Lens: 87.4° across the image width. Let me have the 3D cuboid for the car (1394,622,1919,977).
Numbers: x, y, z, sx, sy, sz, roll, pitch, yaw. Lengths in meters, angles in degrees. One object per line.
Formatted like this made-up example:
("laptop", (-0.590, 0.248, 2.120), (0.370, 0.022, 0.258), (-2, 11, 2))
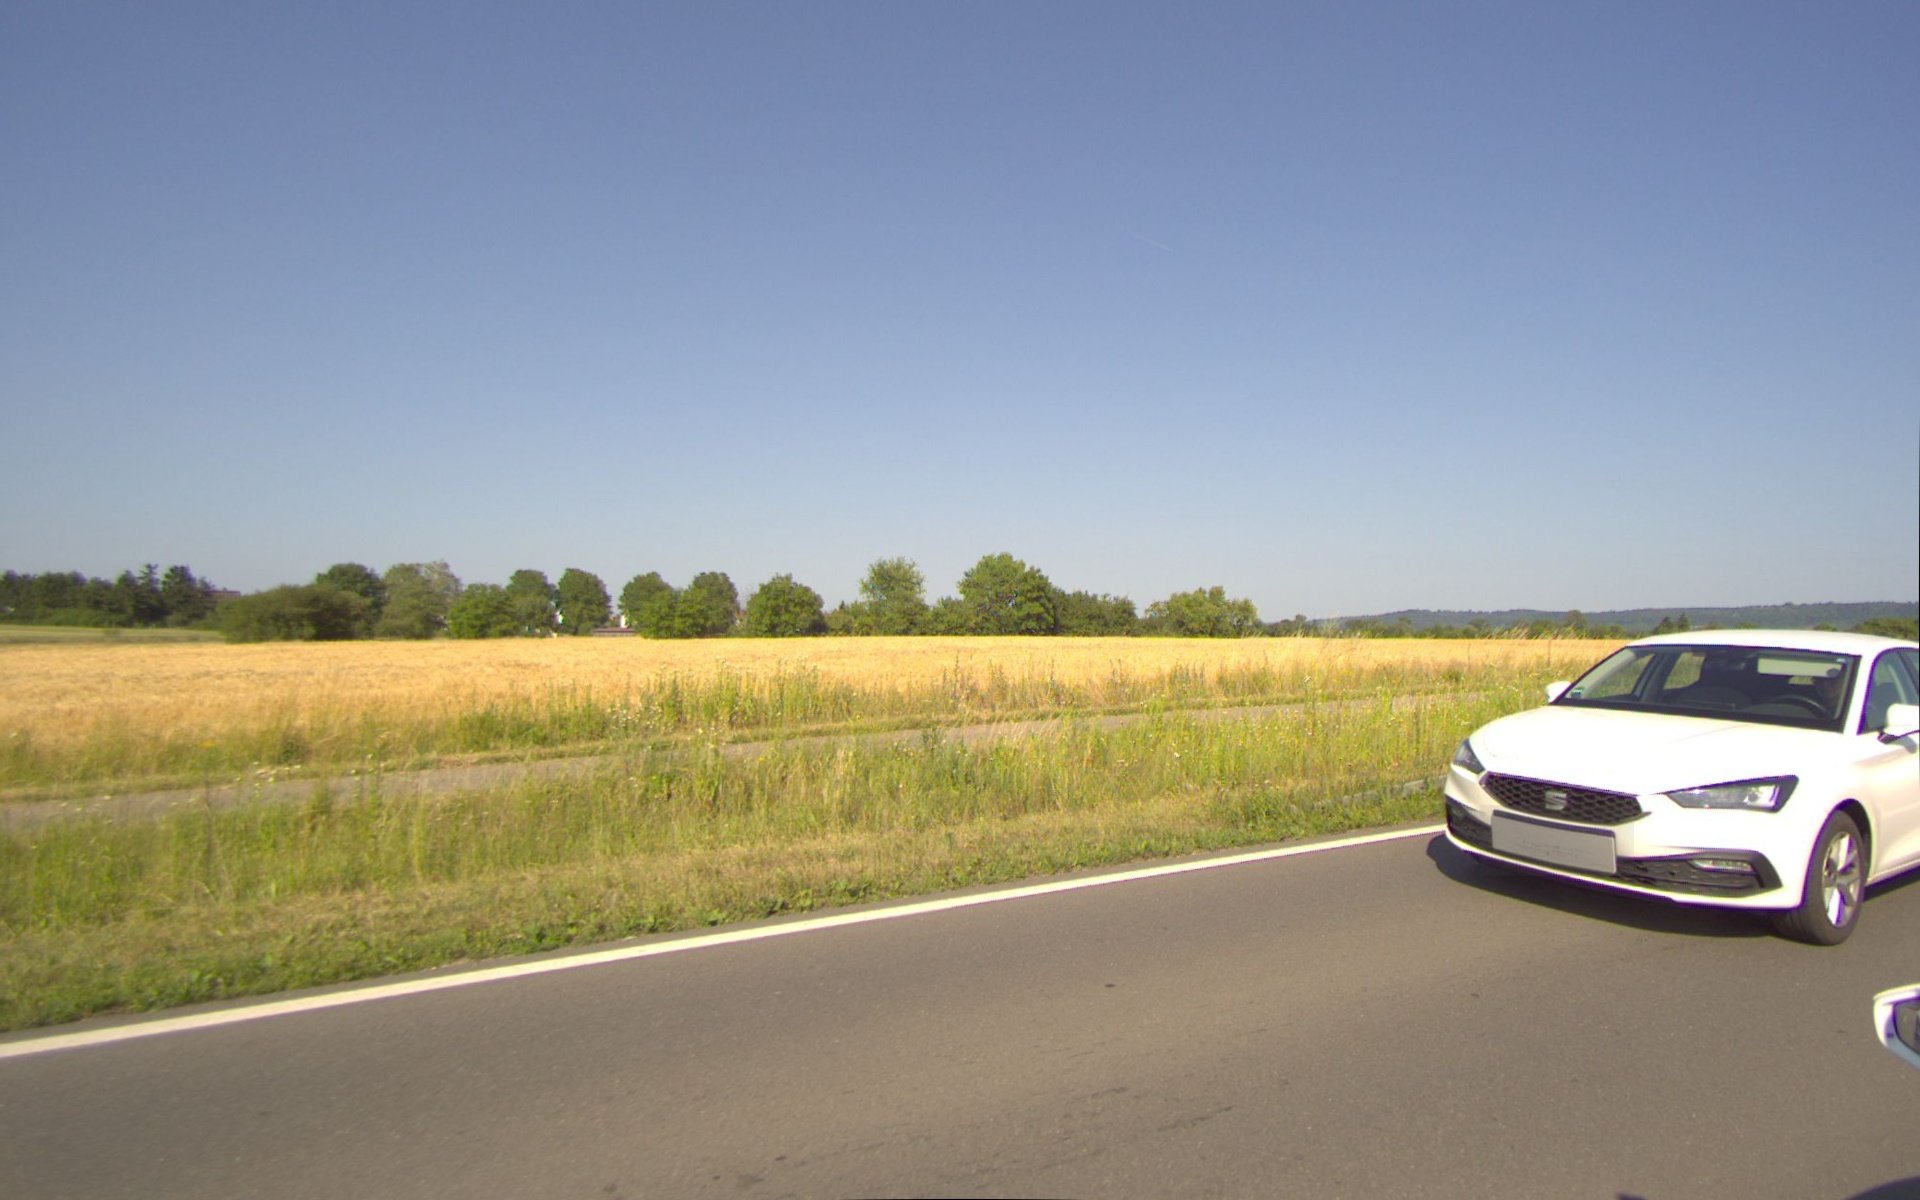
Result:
("car", (4.788, 0.899, 6.061), (4.464, 1.456, 1.718), (2, -1, -31))
